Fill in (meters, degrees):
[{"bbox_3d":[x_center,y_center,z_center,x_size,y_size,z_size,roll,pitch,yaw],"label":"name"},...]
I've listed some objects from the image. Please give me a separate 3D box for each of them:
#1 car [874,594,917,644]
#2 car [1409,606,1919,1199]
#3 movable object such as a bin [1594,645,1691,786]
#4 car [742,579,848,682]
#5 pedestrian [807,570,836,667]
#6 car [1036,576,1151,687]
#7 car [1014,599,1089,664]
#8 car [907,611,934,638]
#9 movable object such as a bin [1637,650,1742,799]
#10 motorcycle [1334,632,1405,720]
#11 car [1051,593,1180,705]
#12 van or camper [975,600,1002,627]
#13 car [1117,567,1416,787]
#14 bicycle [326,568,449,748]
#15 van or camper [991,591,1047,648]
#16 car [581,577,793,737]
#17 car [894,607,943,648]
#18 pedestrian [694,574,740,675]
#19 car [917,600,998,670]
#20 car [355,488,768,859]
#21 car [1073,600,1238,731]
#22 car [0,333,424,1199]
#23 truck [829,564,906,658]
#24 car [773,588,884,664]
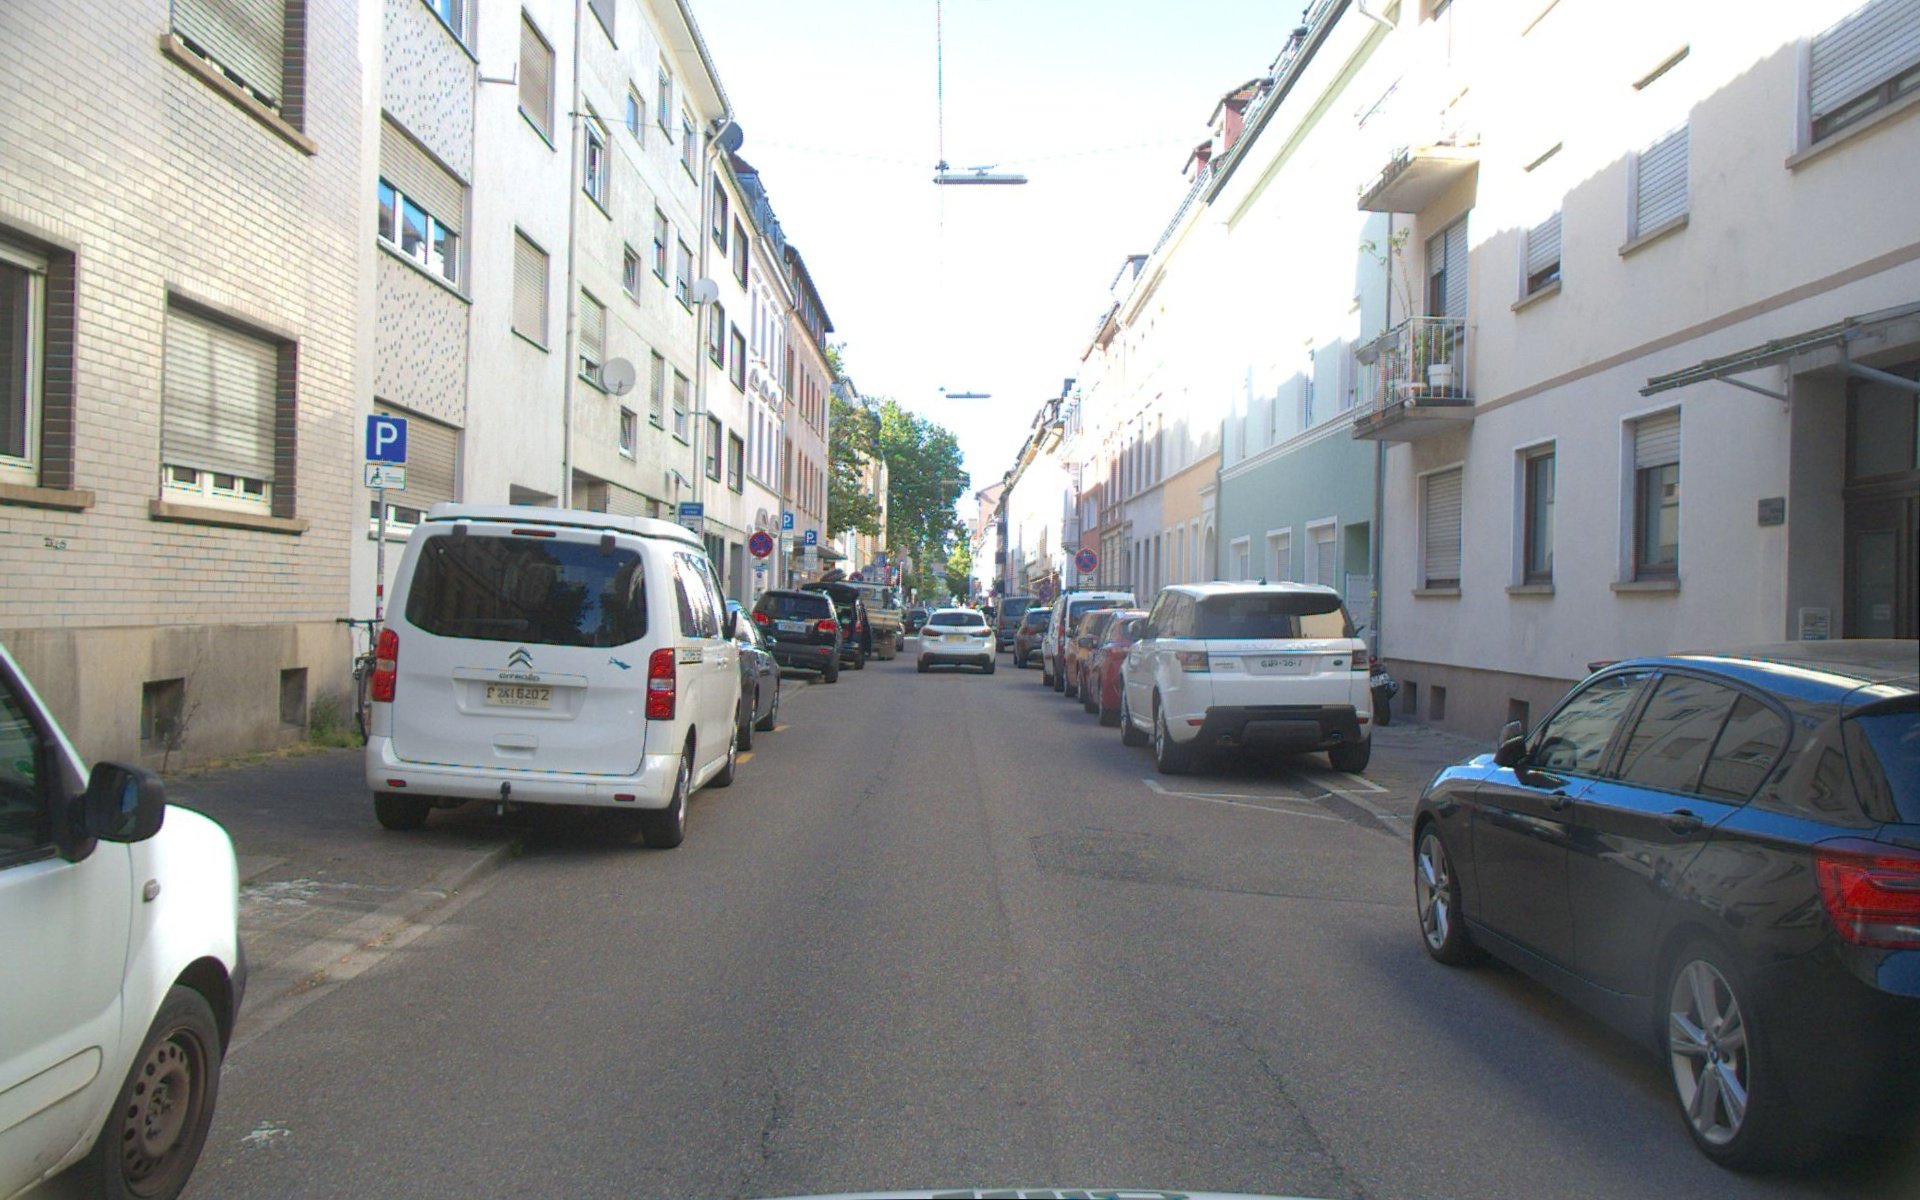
[{"bbox_3d":[-2.614,0.737,66.030,1.614,1.900,3.997,1,0,-3],"label":"car"},{"bbox_3d":[3.003,0.823,5.781,1.711,1.474,3.869,3,0,-1],"label":"car"},{"bbox_3d":[5.451,0.911,13.231,0.565,1.089,0.553,0,0,2],"label":"movable object such as a bin"},{"bbox_3d":[-3.227,0.556,33.061,1.843,1.786,4.539,4,0,-4],"label":"car"},{"bbox_3d":[-3.263,0.445,39.012,0.606,2.268,0.688,1,-2,-1],"label":"pedestrian"},{"bbox_3d":[2.528,0.593,32.166,1.746,1.996,4.334,1,-1,-2],"label":"car"},{"bbox_3d":[2.423,0.804,44.635,1.704,1.604,4.377,1,0,-1],"label":"car"},{"bbox_3d":[-2.426,1.491,102.040,1.591,1.625,3.580,2,0,0],"label":"car"},{"bbox_3d":[5.531,0.933,12.560,0.565,1.089,0.553,0,0,2],"label":"movable object such as a bin"},{"bbox_3d":[5.276,0.960,21.378,0.470,1.064,1.691,1,0,-1],"label":"motorcycle"},{"bbox_3d":[2.510,0.757,27.430,1.549,1.660,3.679,3,0,-3],"label":"car"},{"bbox_3d":[2.131,1.013,124.527,1.953,1.960,3.999,1,-2,0],"label":"van or camper"},{"bbox_3d":[2.808,0.634,16.369,1.964,1.815,4.938,1,0,-1],"label":"car"},{"bbox_3d":[-5.237,0.503,15.233,0.546,1.535,1.799,3,-1,-4],"label":"bicycle"},{"bbox_3d":[2.194,0.731,62.352,1.739,2.072,4.567,0,-1,-3],"label":"van or camper"},{"bbox_3d":[-2.828,0.555,17.983,1.672,1.475,4.300,2,0,-2],"label":"car"},{"bbox_3d":[-1.528,0.993,60.791,1.722,1.440,3.998,-1,0,-2],"label":"car"},{"bbox_3d":[-4.806,0.475,32.759,0.789,1.968,0.690,0,0,-1],"label":"pedestrian"},{"bbox_3d":[-0.035,0.791,38.849,1.796,1.512,4.057,1,0,0],"label":"car"},{"bbox_3d":[-2.519,0.405,11.711,1.856,1.992,4.779,3,0,-3],"label":"car"},{"bbox_3d":[2.592,0.818,22.758,1.707,1.596,4.031,1,0,-1],"label":"car"},{"bbox_3d":[-2.437,0.457,2.671,1.709,1.908,4.089,5,0,-1],"label":"car"},{"bbox_3d":[-2.857,0.393,49.769,2.115,2.636,6.242,1,-1,-5],"label":"truck"},{"bbox_3d":[-3.249,0.629,41.948,2.391,1.735,5.241,2,0,-1],"label":"car"}]
